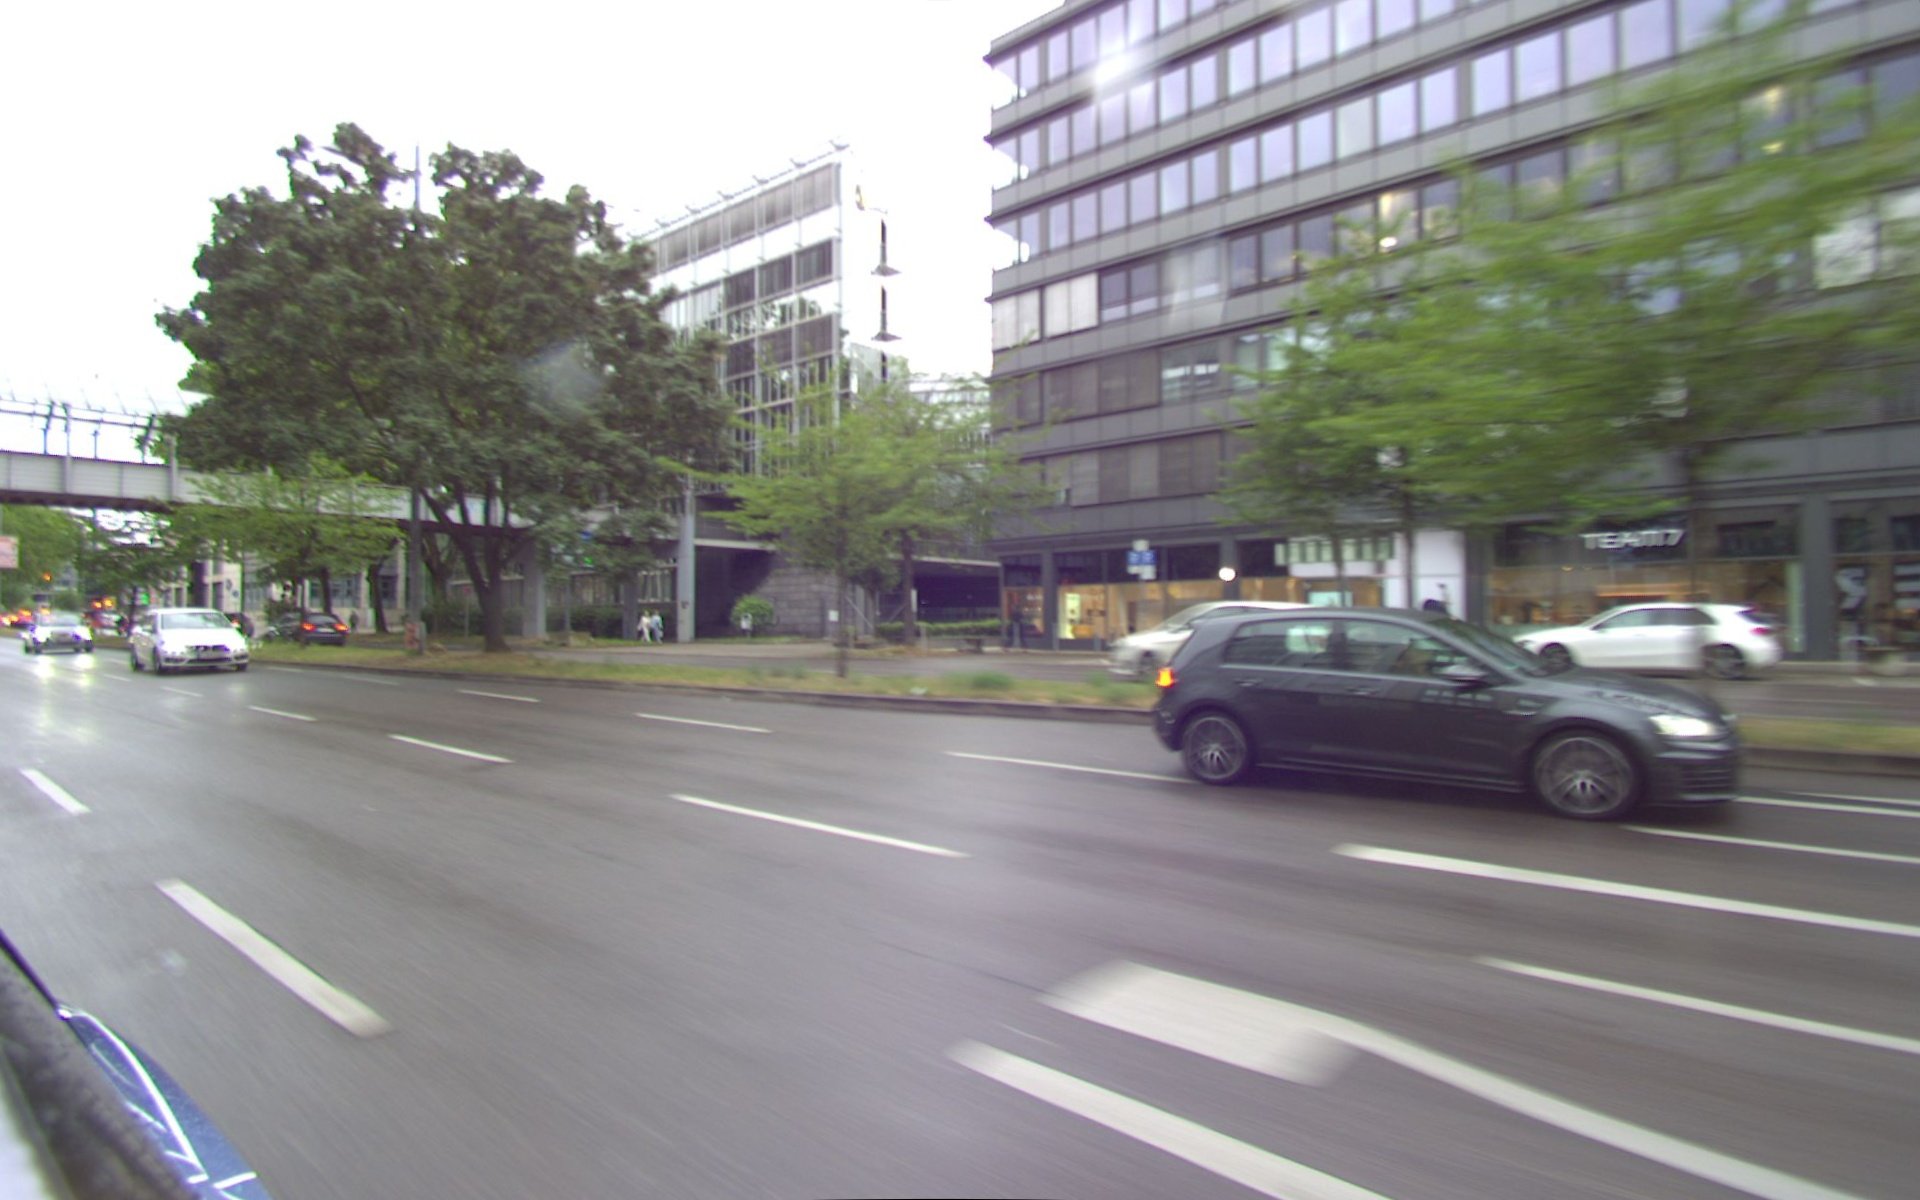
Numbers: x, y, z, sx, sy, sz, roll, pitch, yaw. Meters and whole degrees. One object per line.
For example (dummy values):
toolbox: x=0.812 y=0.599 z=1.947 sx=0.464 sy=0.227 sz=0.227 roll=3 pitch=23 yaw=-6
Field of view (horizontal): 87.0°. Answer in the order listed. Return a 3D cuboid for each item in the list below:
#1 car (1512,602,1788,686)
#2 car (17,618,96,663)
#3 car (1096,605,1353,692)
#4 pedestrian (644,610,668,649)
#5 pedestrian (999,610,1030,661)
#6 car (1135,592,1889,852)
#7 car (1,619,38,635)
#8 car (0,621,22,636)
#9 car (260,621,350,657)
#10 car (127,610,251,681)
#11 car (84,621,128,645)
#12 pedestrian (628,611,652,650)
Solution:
car: x=13.413 y=0.814 z=19.859 sx=4.304 sy=1.455 sz=1.791 roll=-1 pitch=0 yaw=38
car: x=-33.855 y=1.497 z=37.890 sx=3.689 sy=1.585 sz=1.765 roll=-1 pitch=-1 yaw=41
car: x=4.839 y=0.854 z=18.859 sx=4.308 sy=1.445 sz=1.710 roll=-1 pitch=-1 yaw=39
pedestrian: x=-14.873 y=1.437 z=49.461 sx=0.924 sy=1.846 sz=0.720 roll=-1 pitch=0 yaw=41
pedestrian: x=1.992 y=1.290 z=37.076 sx=0.764 sy=1.830 sz=0.720 roll=-5 pitch=-3 yaw=39
car: x=3.897 y=0.765 z=7.866 sx=4.681 sy=1.462 sz=1.821 roll=-2 pitch=-2 yaw=38
car: x=-81.442 y=2.363 z=87.635 sx=4.071 sy=1.320 sz=1.711 roll=-1 pitch=-1 yaw=38
car: x=-86.696 y=2.552 z=91.798 sx=4.071 sy=1.320 sz=1.711 roll=-1 pitch=-1 yaw=38
car: x=-25.448 y=1.482 z=39.264 sx=4.071 sy=1.320 sz=1.711 roll=-1 pitch=-1 yaw=38
car: x=-19.088 y=1.073 z=24.998 sx=4.288 sy=1.585 sz=1.764 roll=-1 pitch=-1 yaw=43
car: x=-63.036 y=2.411 z=74.699 sx=3.994 sy=1.610 sz=1.651 roll=-1 pitch=0 yaw=38
pedestrian: x=-15.442 y=1.462 z=48.787 sx=0.924 sy=1.812 sz=0.720 roll=-1 pitch=0 yaw=41
